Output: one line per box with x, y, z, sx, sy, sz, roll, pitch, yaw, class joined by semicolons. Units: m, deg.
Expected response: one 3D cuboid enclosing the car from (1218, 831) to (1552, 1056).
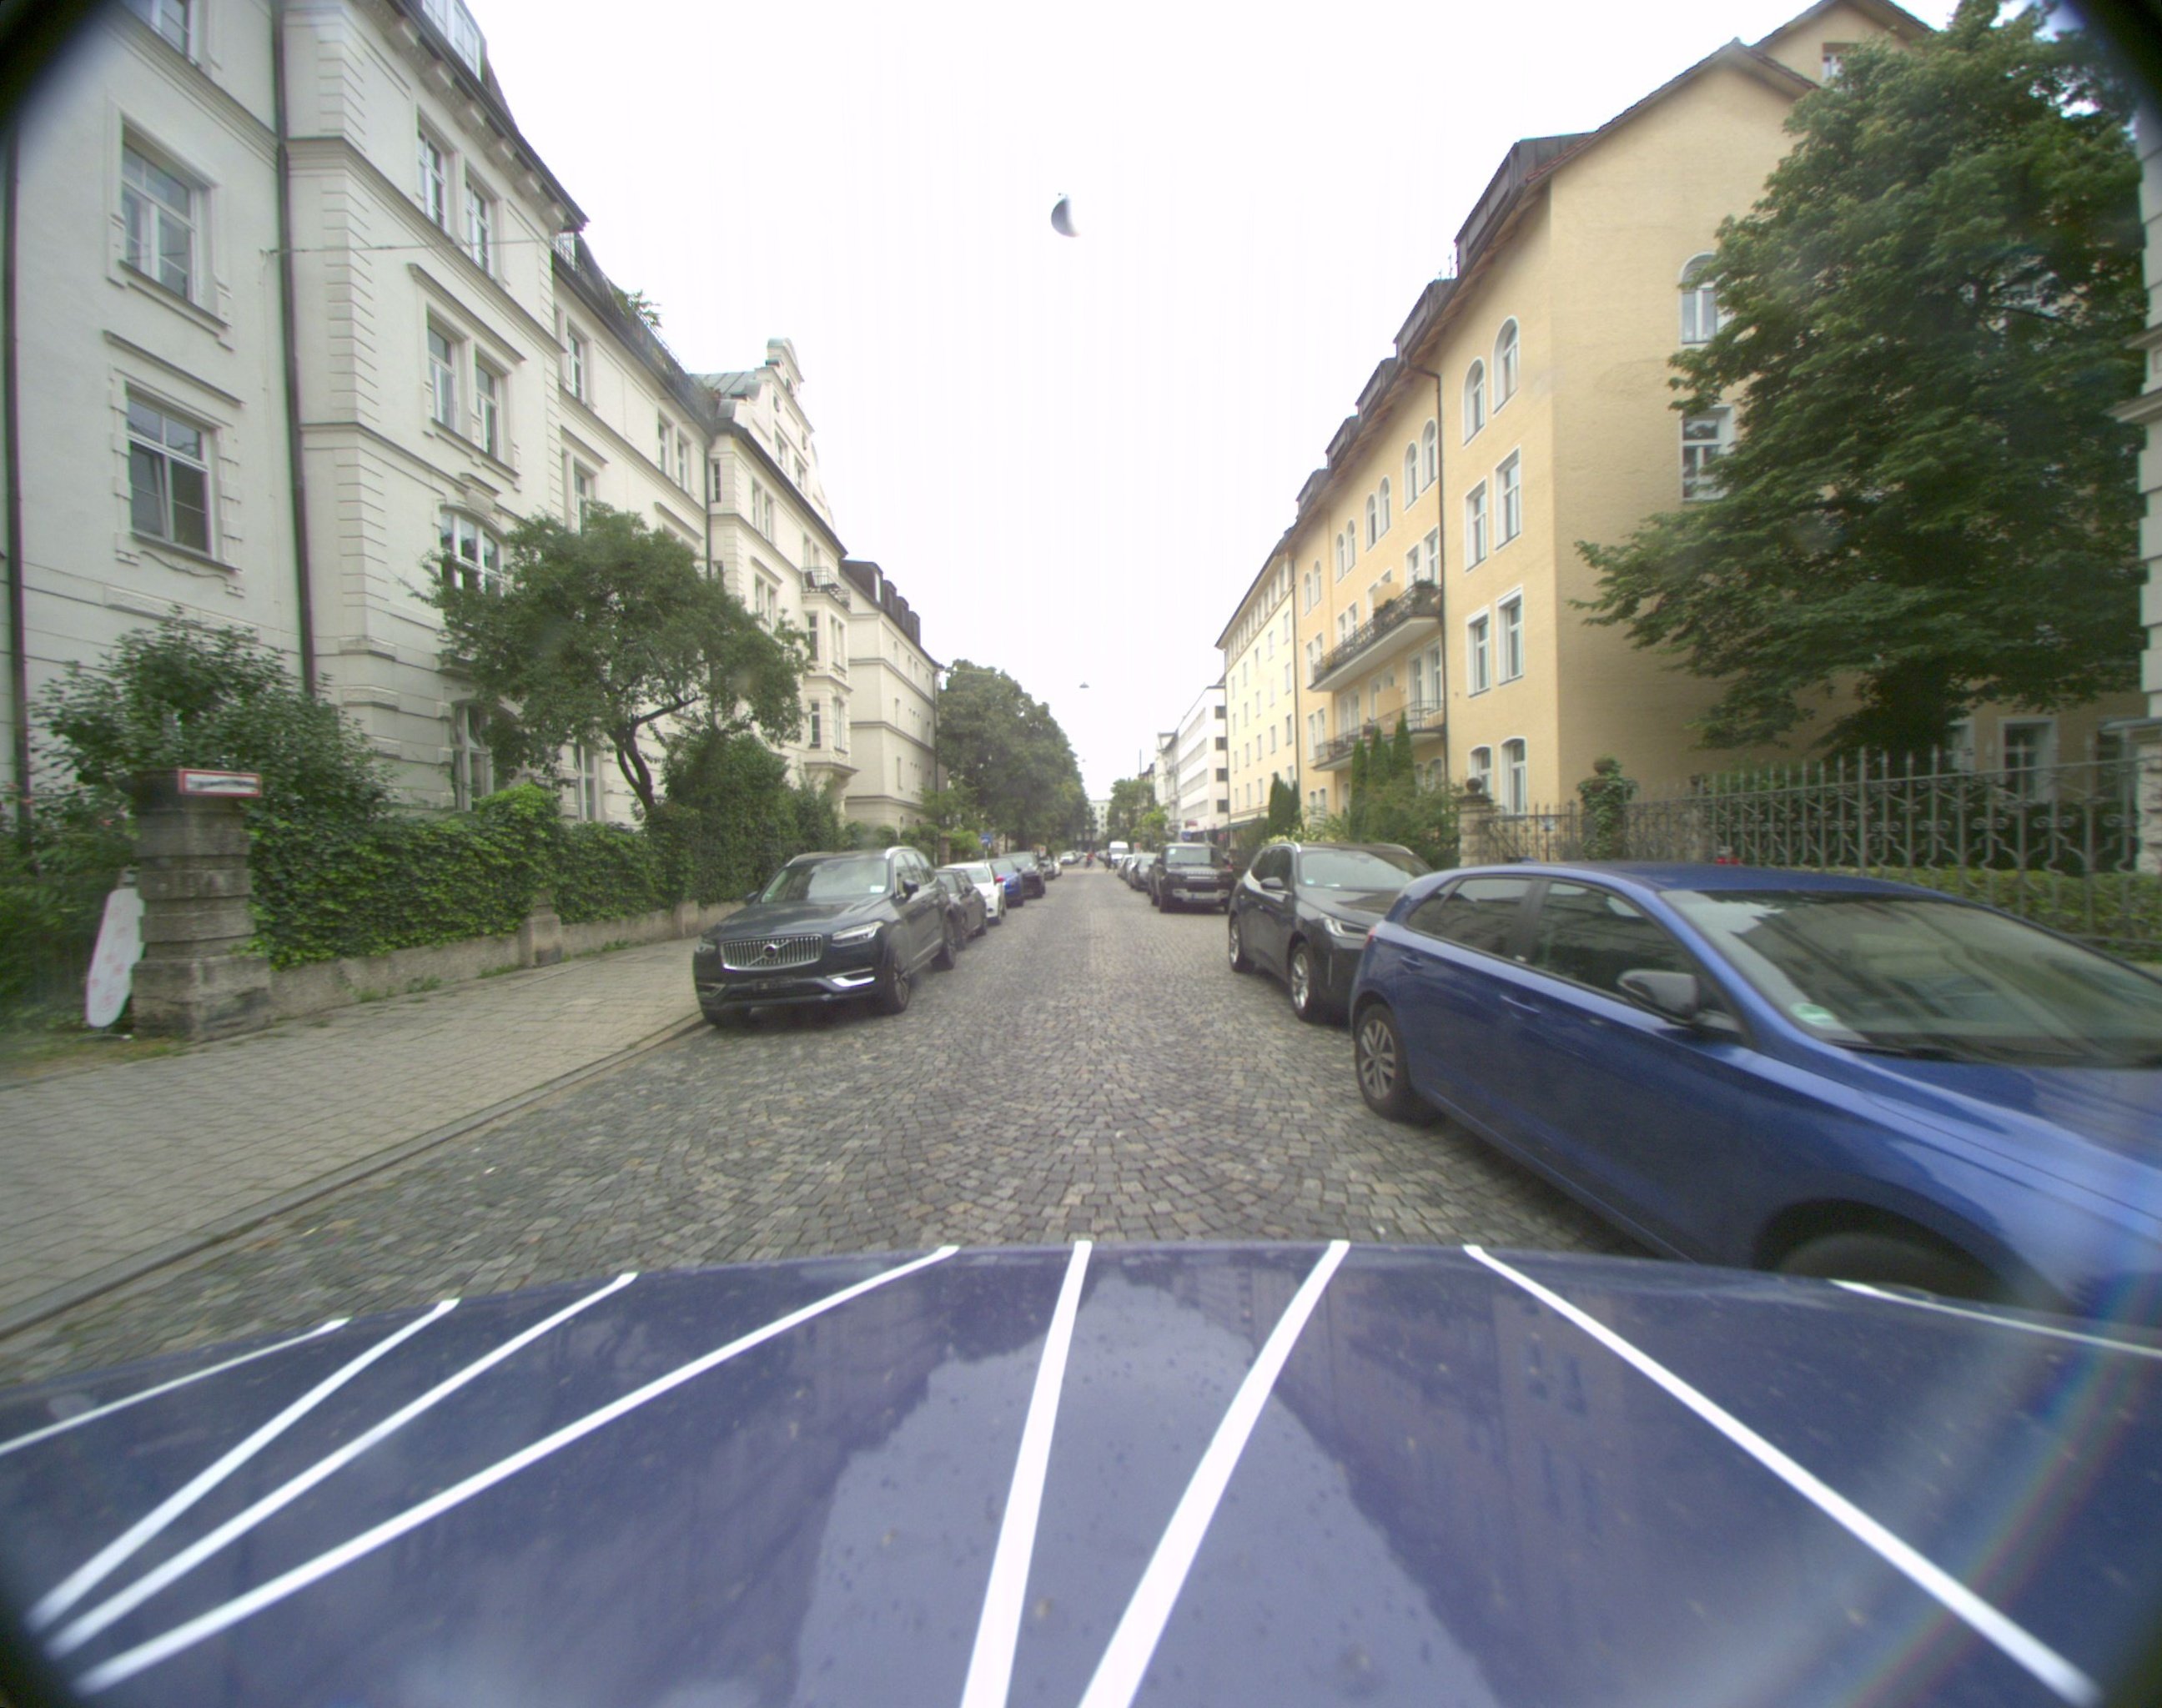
2.772;0.665;8.127;1.778;1.708;4.390;-2;1;0;car

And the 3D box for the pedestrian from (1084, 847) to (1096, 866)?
0.833;0.231;71.510;1.105;1.768;1.263;-2;1;2;pedestrian

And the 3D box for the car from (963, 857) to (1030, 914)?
-2.622;0.928;24.469;1.713;1.473;4.248;-4;1;-2;car

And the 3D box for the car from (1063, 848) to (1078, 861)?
-1.417;0.062;104.122;1.925;1.676;4.633;-2;1;2;car

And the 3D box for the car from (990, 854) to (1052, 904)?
-2.257;0.901;30.043;1.879;1.663;5.490;-2;1;1;car

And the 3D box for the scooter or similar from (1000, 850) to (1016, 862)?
-7.629;0.221;79.138;1.604;1.166;0.405;0;2;24;scooter or similar

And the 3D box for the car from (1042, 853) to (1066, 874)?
-1.951;0.665;55.801;1.505;1.462;3.795;-1;1;2;car

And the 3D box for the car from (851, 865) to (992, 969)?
-2.772;1.038;14.078;1.687;1.444;3.965;-3;1;0;car

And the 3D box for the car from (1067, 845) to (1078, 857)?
-1.475;-0.538;129.290;1.818;1.809;4.808;-1;1;0;car

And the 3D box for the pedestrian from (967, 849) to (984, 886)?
-5.312;0.660;38.259;0.577;1.839;0.682;-2;1;8;pedestrian

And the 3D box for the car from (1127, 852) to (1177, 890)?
2.981;0.686;32.751;1.778;1.421;4.390;-2;1;1;car

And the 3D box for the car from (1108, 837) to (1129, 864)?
3.748;-0.366;75.183;1.981;2.559;5.794;0;1;3;car

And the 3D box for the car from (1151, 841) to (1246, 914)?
3.104;0.578;21.097;1.987;1.727;4.722;-2;0;2;car

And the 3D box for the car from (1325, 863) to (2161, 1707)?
2.514;0.848;2.695;1.945;1.451;4.057;-2;1;0;car

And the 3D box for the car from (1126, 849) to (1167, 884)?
3.319;0.590;39.179;1.778;1.638;4.390;-2;1;2;car

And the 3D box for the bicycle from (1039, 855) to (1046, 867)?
-3.976;0.722;77.659;0.389;1.140;1.590;-1;1;8;bicycle

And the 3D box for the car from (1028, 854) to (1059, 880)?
-2.380;0.817;49.162;1.652;1.414;4.631;-5;1;0;car

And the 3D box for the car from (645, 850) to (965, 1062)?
-2.798;0.884;9.144;1.968;1.749;4.953;-2;1;0;car

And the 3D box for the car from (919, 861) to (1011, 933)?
-2.741;0.968;18.898;1.778;1.421;4.389;-2;1;-3;car

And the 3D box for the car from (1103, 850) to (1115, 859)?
4.700;0.023;128.851;1.886;1.411;4.808;-2;0;0;car

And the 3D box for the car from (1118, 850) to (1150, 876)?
3.475;0.573;50.165;1.778;1.527;4.540;-2;1;1;car

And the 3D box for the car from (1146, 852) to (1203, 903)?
3.217;0.753;26.833;1.583;1.581;4.055;0;1;1;car

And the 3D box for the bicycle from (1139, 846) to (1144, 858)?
5.886;-0.197;73.765;0.256;1.120;1.806;-2;1;0;bicycle

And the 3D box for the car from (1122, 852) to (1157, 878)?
3.465;0.631;45.467;1.778;1.352;4.390;-2;1;1;car
